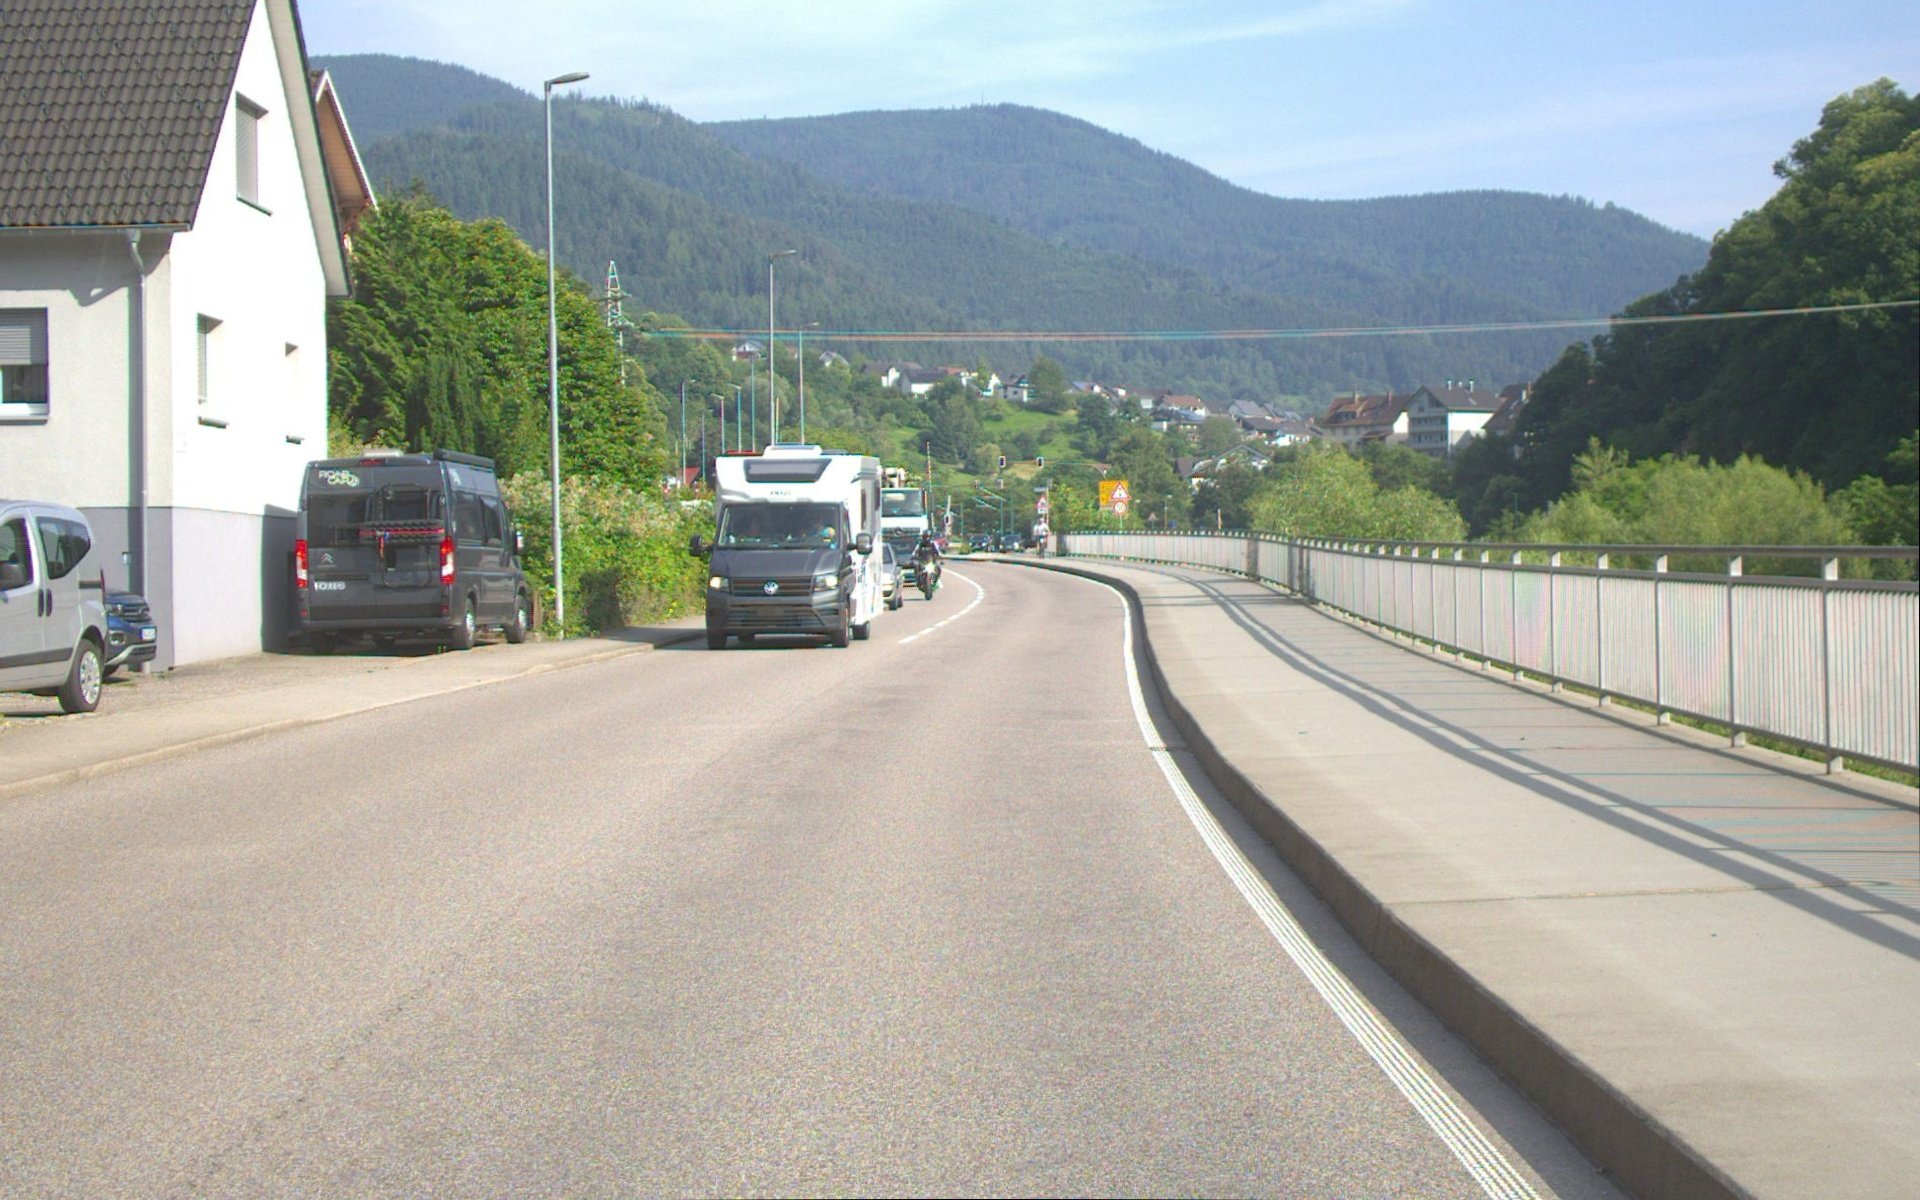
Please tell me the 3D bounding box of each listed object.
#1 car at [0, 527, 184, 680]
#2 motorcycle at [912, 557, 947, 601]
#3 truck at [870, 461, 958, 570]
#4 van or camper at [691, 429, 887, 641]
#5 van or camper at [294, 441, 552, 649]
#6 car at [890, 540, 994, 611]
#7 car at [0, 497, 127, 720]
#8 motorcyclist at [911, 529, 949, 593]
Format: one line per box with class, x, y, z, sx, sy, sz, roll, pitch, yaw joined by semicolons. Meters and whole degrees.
car;-10.570;-0.010;37.040;3.918;1.544;1.907;2;1;2
motorcycle;-0.745;-0.527;84.657;0.654;1.064;2.182;-1;1;5
truck;-1.818;-3.182;130.897;2.578;3.918;11.308;-1;1;-4
van or camper;-2.452;-0.988;51.364;2.195;2.928;7.126;0;1;3
van or camper;-6.981;-0.730;45.385;2.148;2.546;5.901;0;1;3
car;-0.368;-0.551;75.322;1.631;1.480;3.999;1;1;9
car;-8.022;0.045;26.270;1.901;1.659;4.266;0;1;6
motorcyclist;-0.734;-0.953;84.127;0.826;1.553;0.628;-1;0;6
